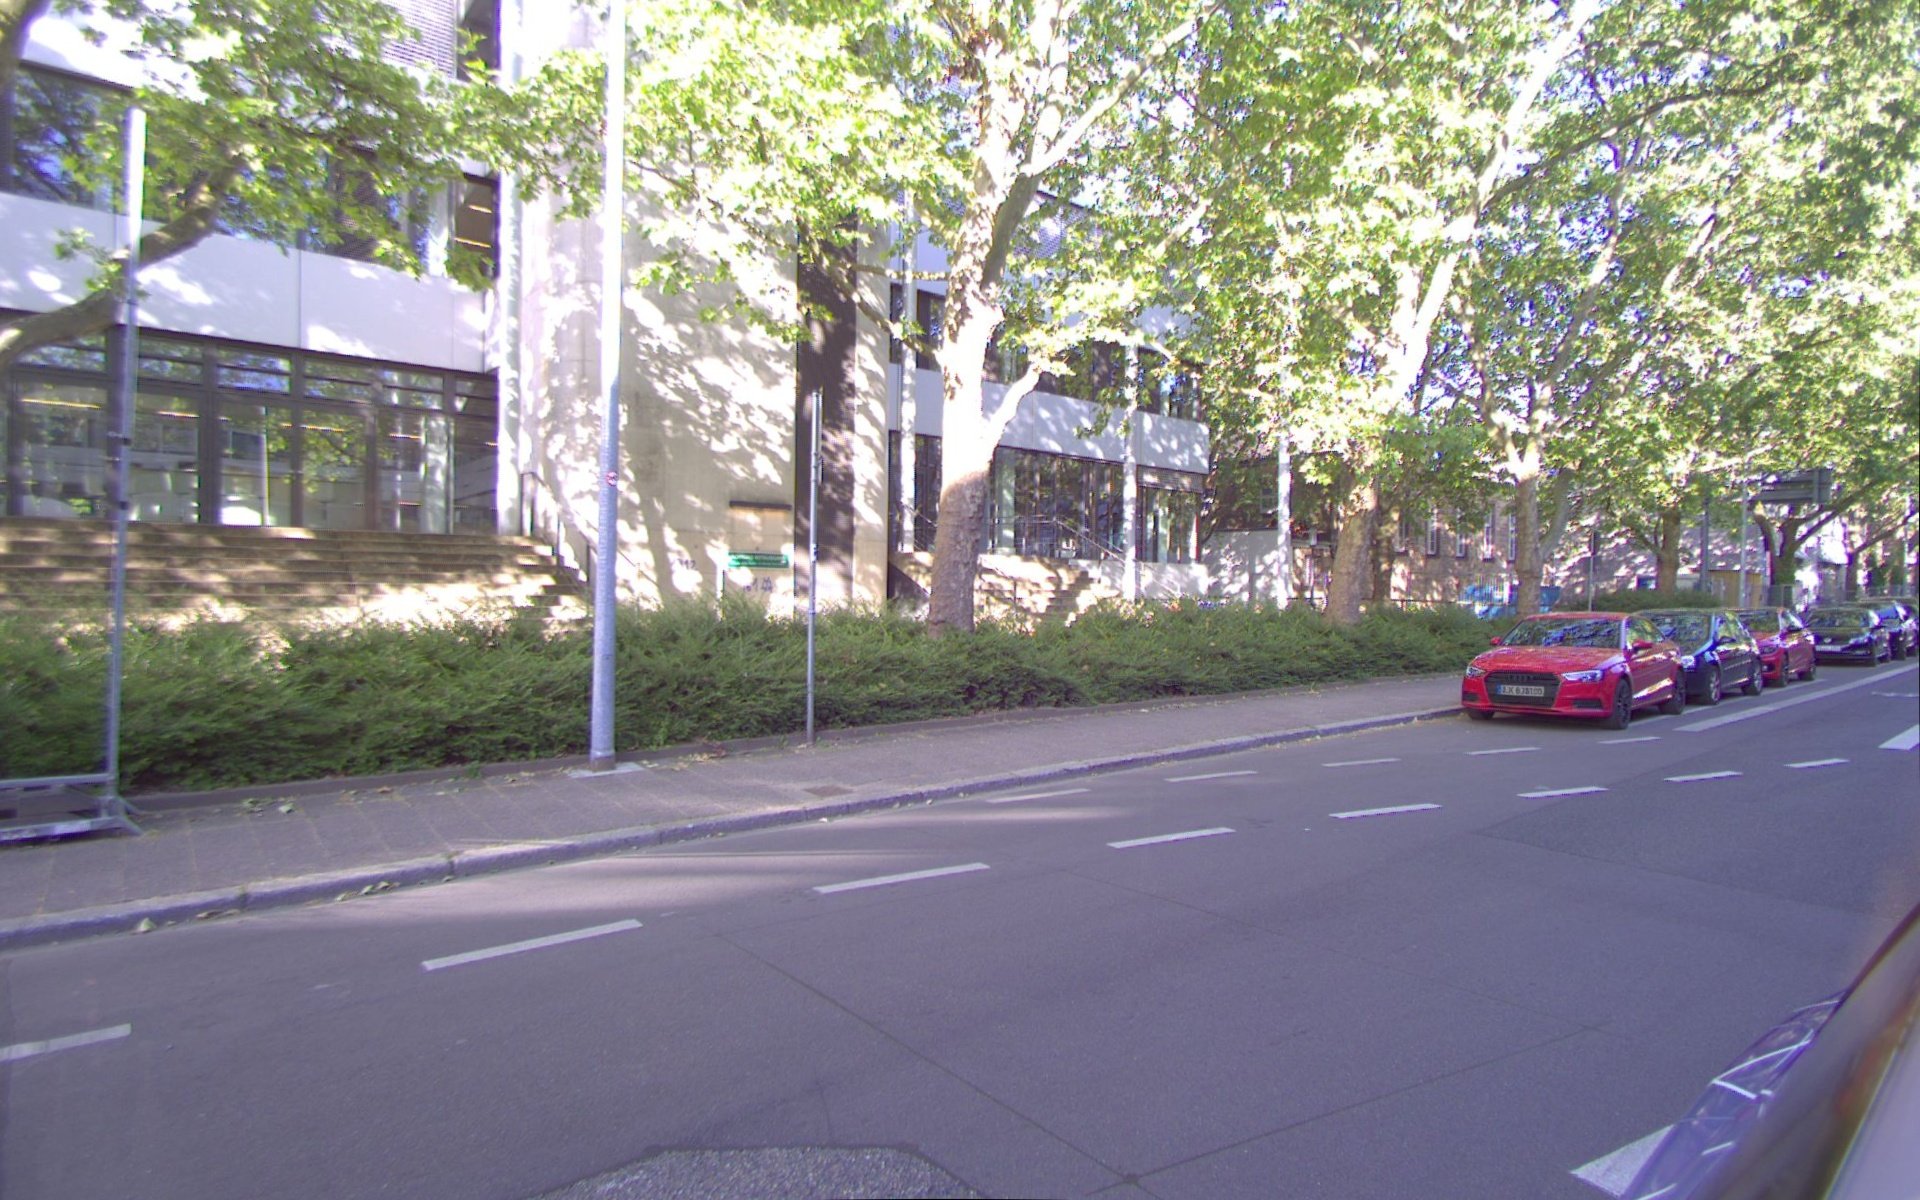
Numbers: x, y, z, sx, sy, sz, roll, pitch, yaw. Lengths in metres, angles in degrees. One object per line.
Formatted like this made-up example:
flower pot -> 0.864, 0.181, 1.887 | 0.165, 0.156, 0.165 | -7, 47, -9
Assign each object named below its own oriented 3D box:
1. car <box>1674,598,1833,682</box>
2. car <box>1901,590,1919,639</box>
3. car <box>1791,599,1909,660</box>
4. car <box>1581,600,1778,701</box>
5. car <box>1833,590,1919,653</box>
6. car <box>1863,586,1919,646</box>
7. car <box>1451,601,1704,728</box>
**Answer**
car -> 15.708, 0.725, 19.970 | 3.841, 1.486, 1.753 | 0, -1, -41
car -> 36.200, 0.521, 37.268 | 4.370, 1.750, 1.753 | 0, -1, -41
car -> 22.953, 0.721, 26.069 | 3.841, 1.451, 1.753 | 0, -1, -41
car -> 11.856, 0.744, 16.594 | 3.841, 1.451, 1.753 | 0, -1, -41
car -> 26.720, 0.591, 29.181 | 4.101, 1.674, 1.753 | 0, -1, -41
car -> 30.977, 0.491, 32.972 | 4.370, 1.843, 1.753 | 0, -1, -41
car -> 8.280, 0.745, 13.449 | 3.930, 1.427, 1.753 | 0, -1, -41
